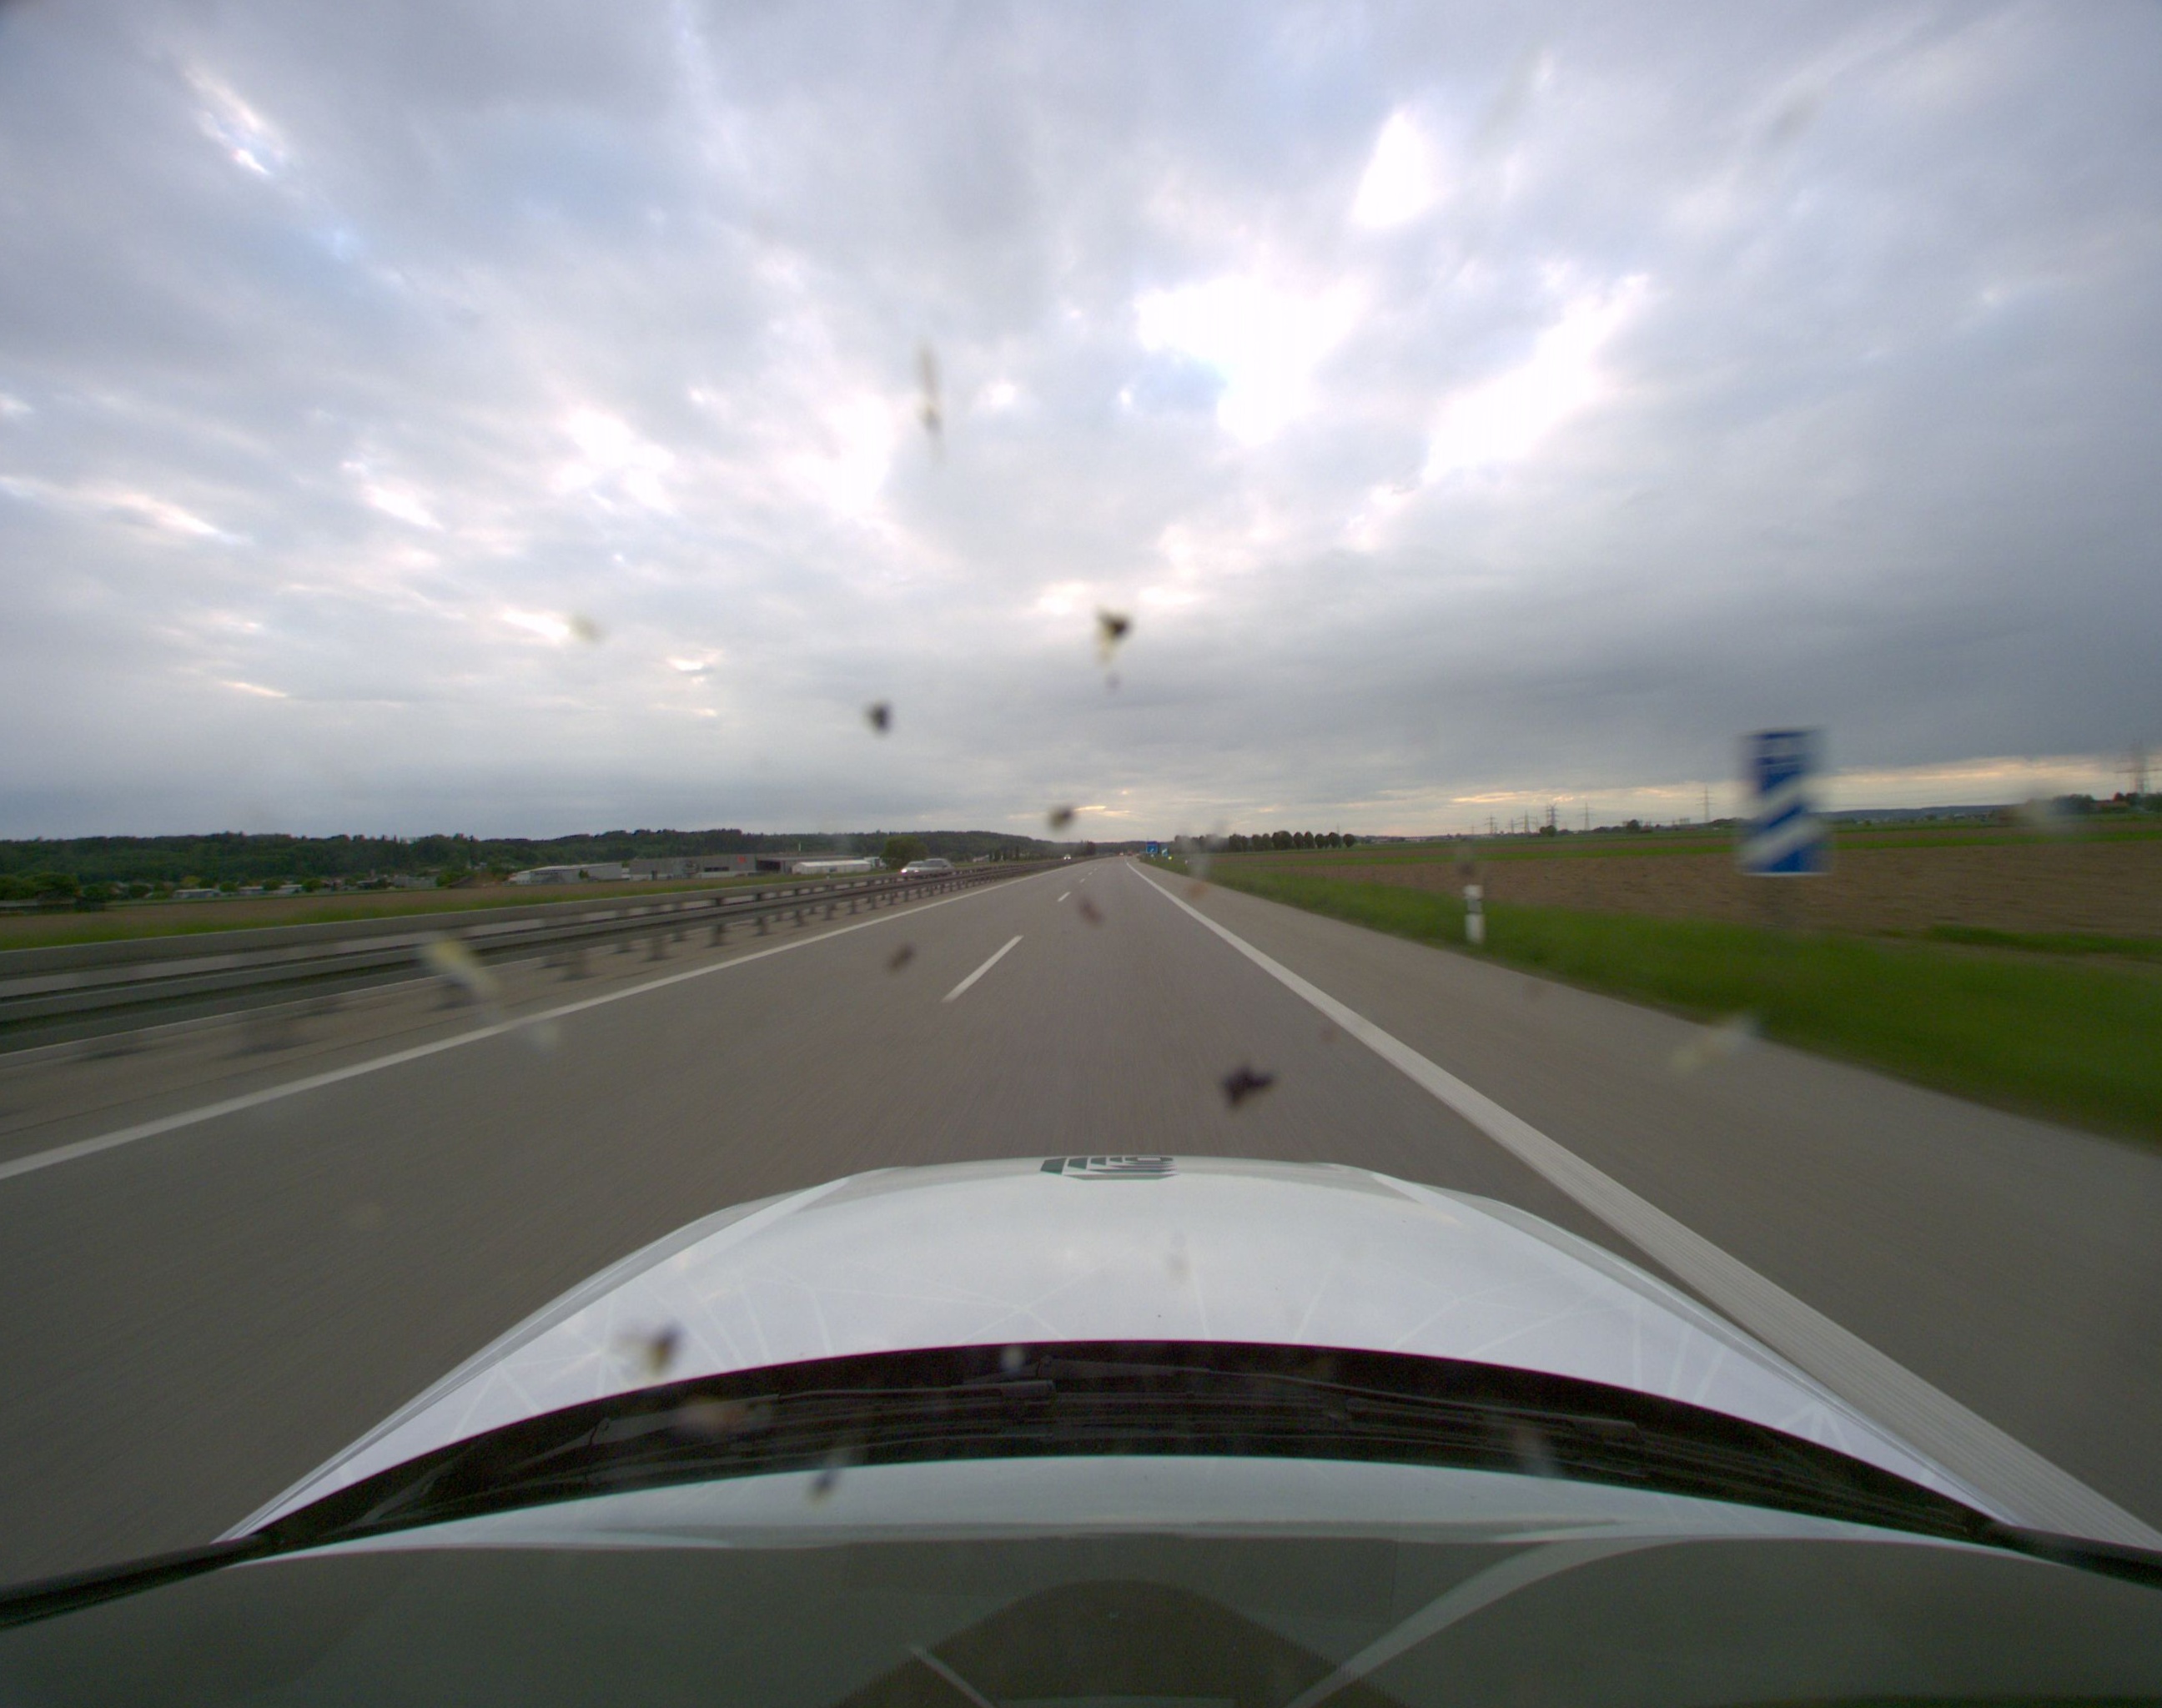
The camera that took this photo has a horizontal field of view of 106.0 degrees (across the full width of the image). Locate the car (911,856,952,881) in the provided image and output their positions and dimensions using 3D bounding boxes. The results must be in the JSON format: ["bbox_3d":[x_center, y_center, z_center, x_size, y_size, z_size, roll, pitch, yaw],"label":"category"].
[{"bbox_3d":[-10.619,0.986,58.286,1.986,1.701,4.304,-1,0,2],"label":"car"}]

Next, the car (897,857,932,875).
[{"bbox_3d":[-14.955,1.049,73.442,1.986,1.496,4.764,-2,0,1],"label":"car"}]
